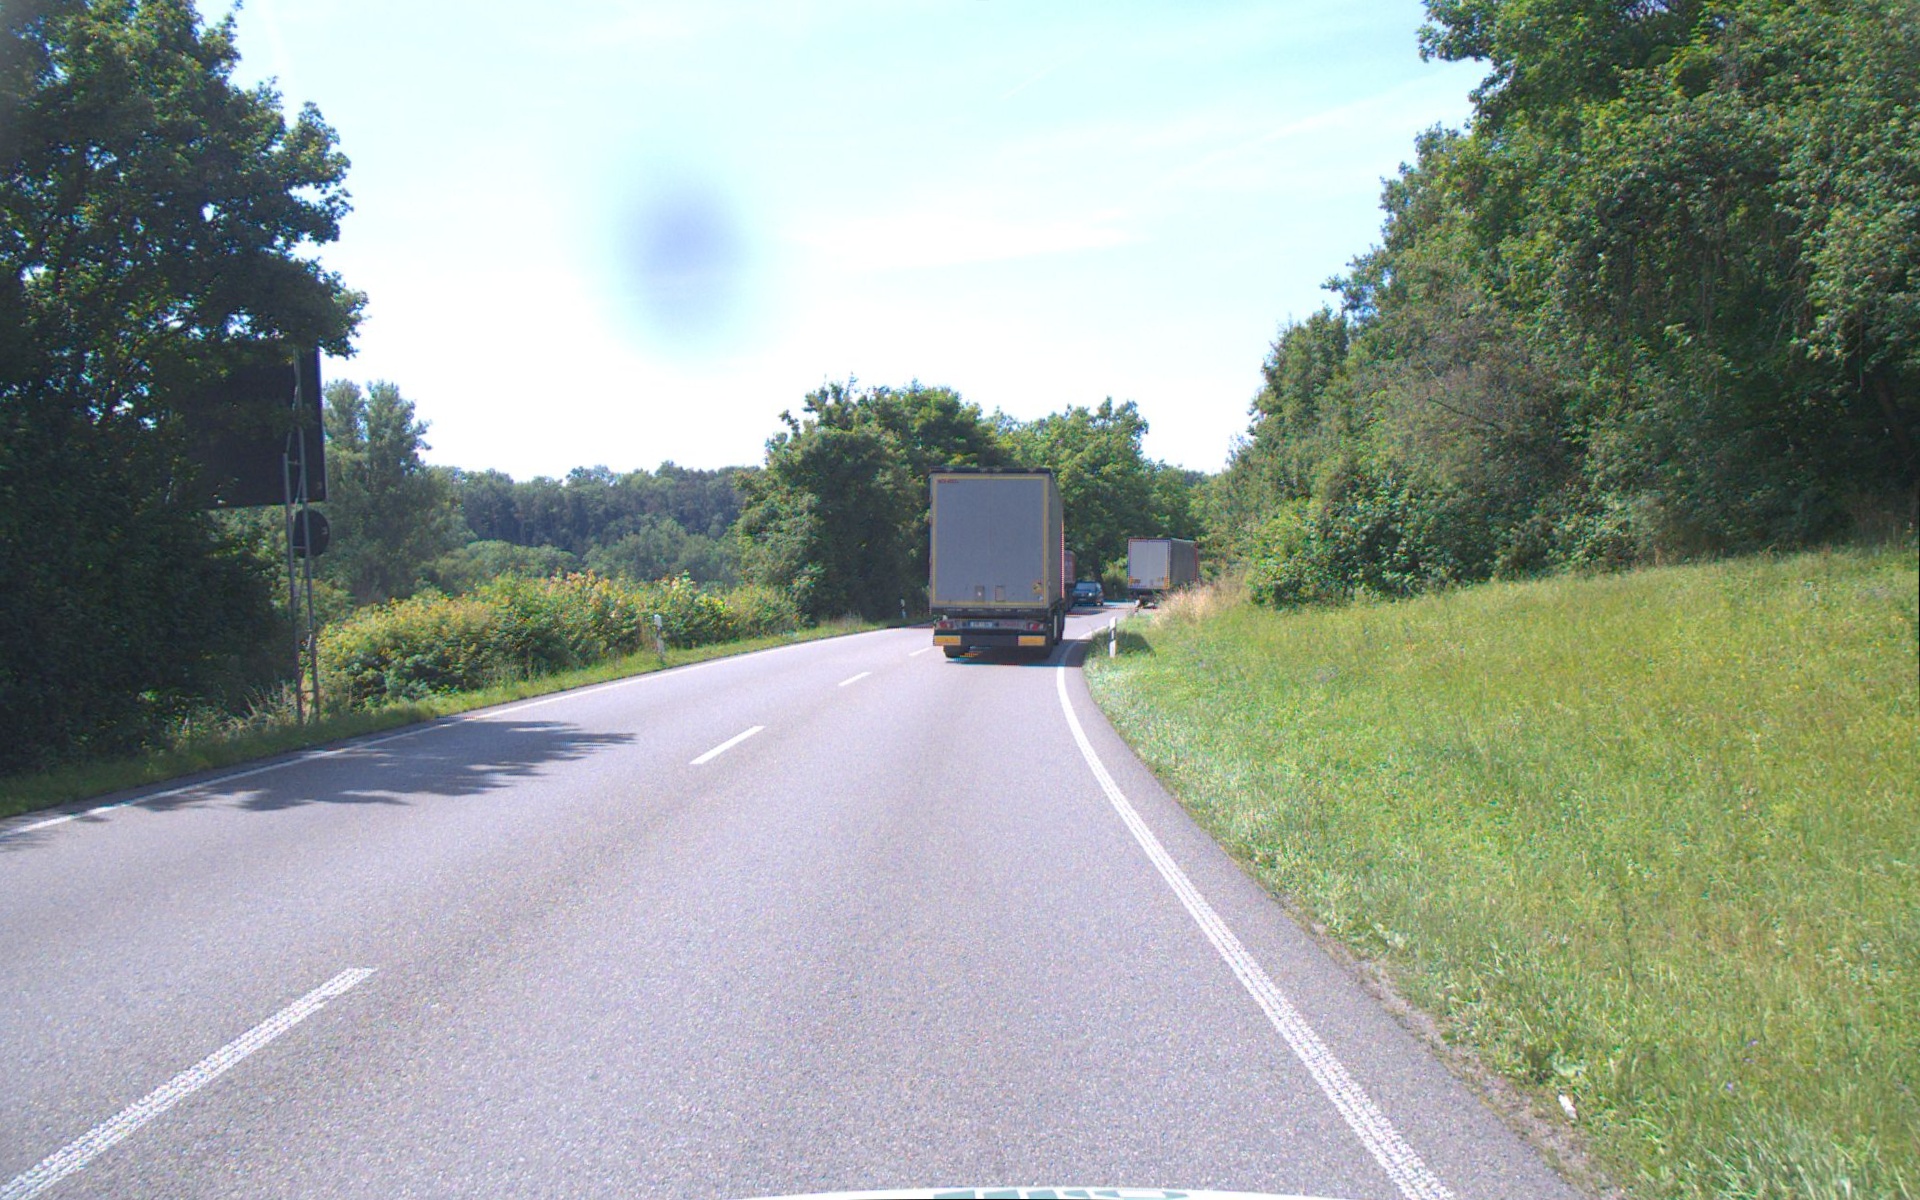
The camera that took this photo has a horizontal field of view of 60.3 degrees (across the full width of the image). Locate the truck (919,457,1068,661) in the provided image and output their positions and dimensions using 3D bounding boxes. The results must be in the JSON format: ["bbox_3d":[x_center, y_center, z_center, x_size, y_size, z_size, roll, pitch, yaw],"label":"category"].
[{"bbox_3d":[1.182,-0.886,41.544,2.742,4.140,15.335,0,0,5],"label":"truck"}]

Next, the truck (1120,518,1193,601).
[{"bbox_3d":[12.467,-2.598,103.550,3.038,4.787,16.606,-1,2,12],"label":"truck"}]

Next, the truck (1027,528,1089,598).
[{"bbox_3d":[5.442,-1.915,90.038,2.498,3.513,12.644,0,0,7],"label":"truck"}]

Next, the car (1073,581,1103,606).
[{"bbox_3d":[7.916,-0.422,102.115,1.399,1.496,3.275,0,0,12],"label":"car"}]
